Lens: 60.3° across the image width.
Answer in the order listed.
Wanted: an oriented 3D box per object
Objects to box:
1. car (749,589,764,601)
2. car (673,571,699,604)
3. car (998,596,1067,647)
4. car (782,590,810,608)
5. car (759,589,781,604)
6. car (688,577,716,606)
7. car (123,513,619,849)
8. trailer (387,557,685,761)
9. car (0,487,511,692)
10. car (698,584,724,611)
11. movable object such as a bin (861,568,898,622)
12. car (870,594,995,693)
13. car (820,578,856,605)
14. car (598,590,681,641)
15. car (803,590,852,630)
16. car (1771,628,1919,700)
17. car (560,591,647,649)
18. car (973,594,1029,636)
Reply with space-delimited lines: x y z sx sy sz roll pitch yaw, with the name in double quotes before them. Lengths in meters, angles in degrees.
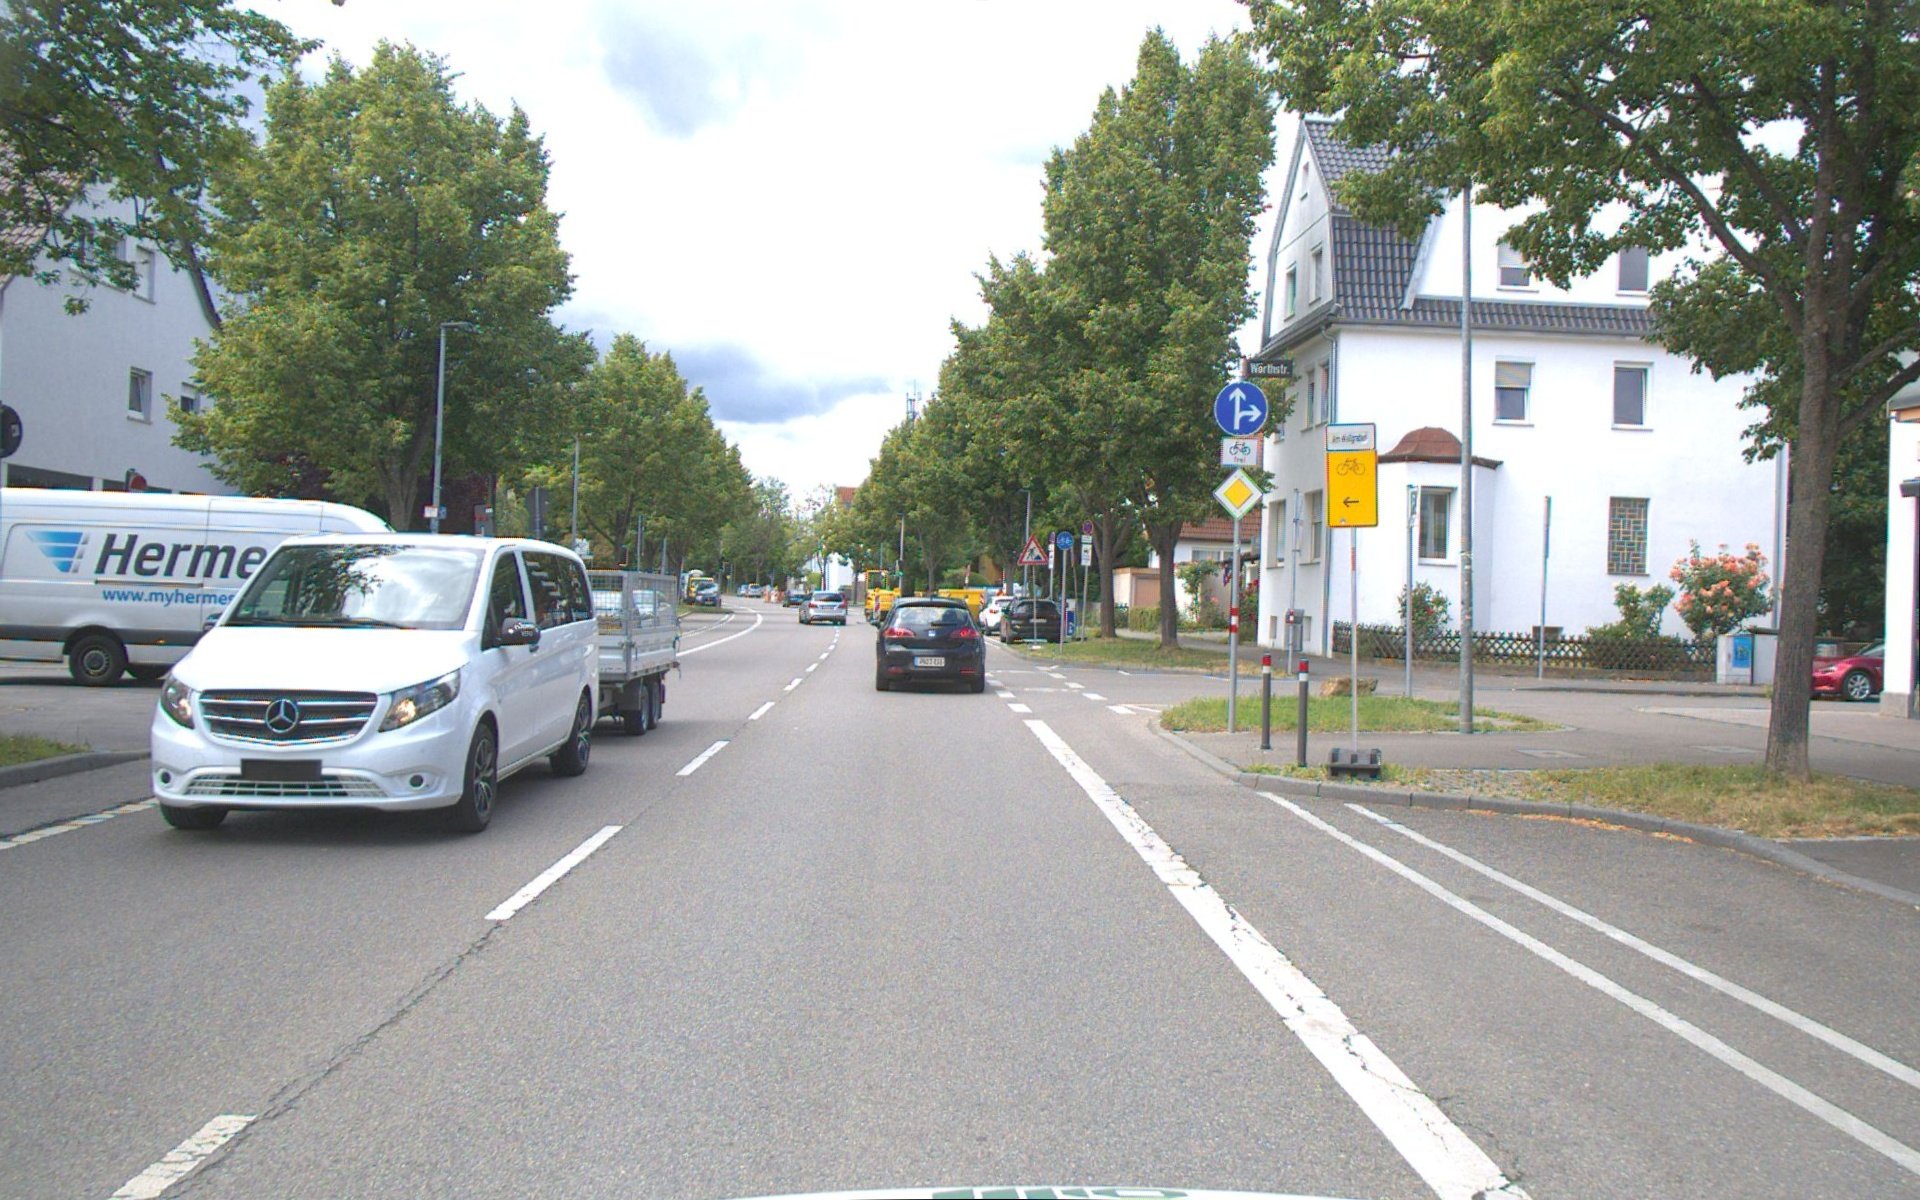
"car" -25.257 -0.654 205.424 1.776 1.440 3.687 1 0 -8
"car" -23.488 -1.080 141.857 2.055 2.672 5.032 1 0 -10
"car" 2.222 0.638 51.753 1.672 1.480 4.613 1 0 -3
"car" -13.042 -0.102 131.299 1.778 1.399 3.682 1 0 -12
"car" -18.888 -0.320 164.259 1.779 1.440 3.680 1 0 -14
"car" -20.536 -0.654 131.650 2.055 2.213 5.032 1 0 -10
"car" -3.829 0.455 11.781 1.927 1.862 4.817 1 0 -2
"trailer" -4.021 0.498 16.542 1.899 1.706 4.686 1 0 -2
"car" -10.275 -0.136 23.545 7.148 2.640 2.218 1 0 -6
"car" -16.544 -0.174 109.852 1.637 1.803 4.457 0 0 -10
"movable object such as a bin" -4.078 -0.280 83.556 1.733 2.619 3.736 1 0 -4
"car" -0.509 0.650 26.760 1.783 1.463 3.736 1 0 -4
"car" -7.540 -0.538 102.028 1.759 1.651 3.730 1 0 -11
"car" -9.658 0.441 50.131 1.679 1.431 4.299 1 0 -1
"car" -5.937 0.424 73.752 1.871 1.715 3.731 1 0 -10
"car" 18.139 1.265 32.426 3.624 1.252 1.745 2 0 -5
"car" -9.321 0.502 43.499 1.610 1.445 4.018 1 0 -3
"car" 1.486 0.535 61.601 1.639 1.488 3.996 1 0 -5
